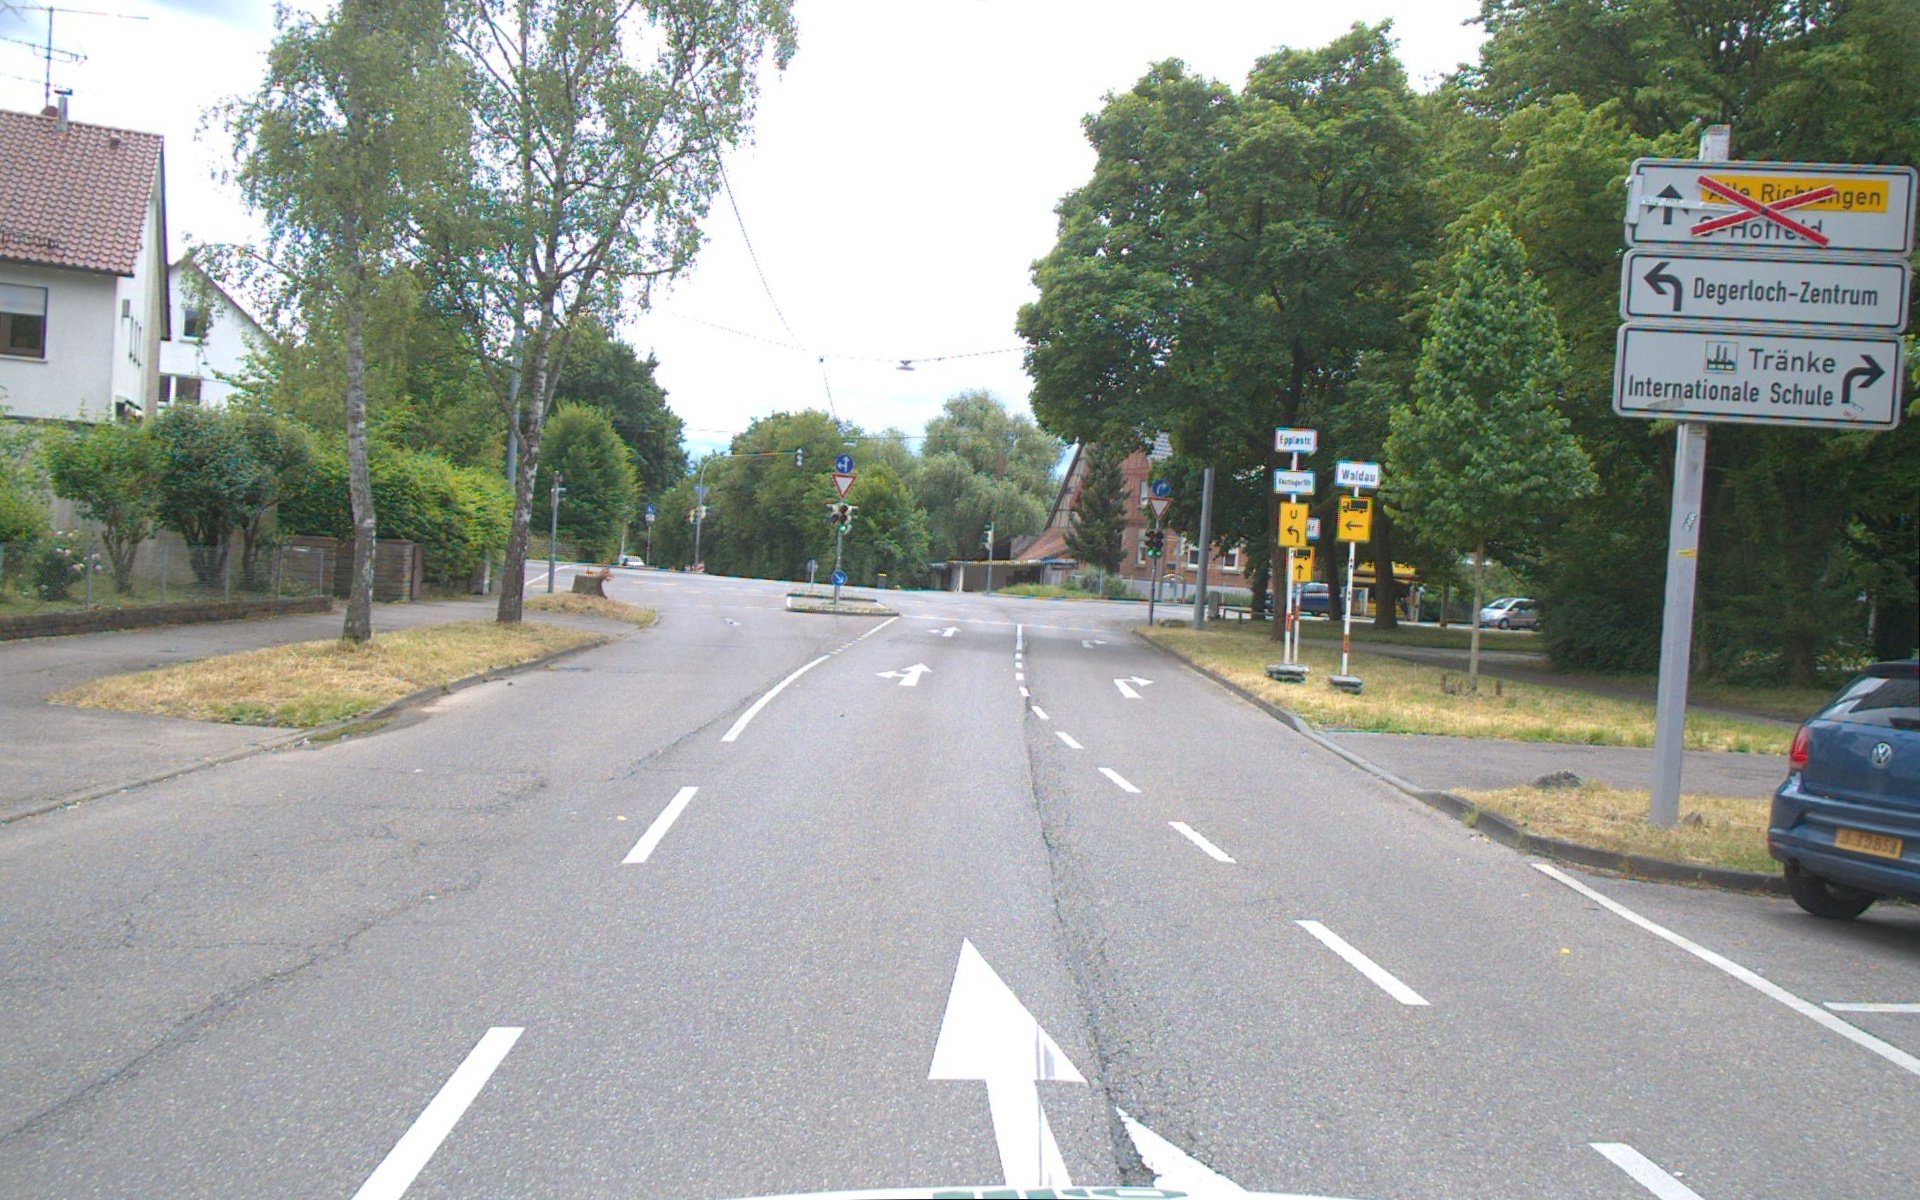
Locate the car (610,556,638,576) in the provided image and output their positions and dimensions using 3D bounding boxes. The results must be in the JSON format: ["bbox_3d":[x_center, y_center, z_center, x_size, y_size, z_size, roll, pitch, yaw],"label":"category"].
[{"bbox_3d":[-26.867,-2.746,132.144,1.766,1.434,3.982,3,1,-17],"label":"car"}]

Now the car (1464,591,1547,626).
[{"bbox_3d":[27.140,0.423,82.305,3.416,1.557,1.986,3,1,-24],"label":"car"}]

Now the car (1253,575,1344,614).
[{"bbox_3d":[16.449,-0.272,80.448,3.786,1.676,1.990,3,1,-18],"label":"car"}]

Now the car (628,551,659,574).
[{"bbox_3d":[-23.093,-2.766,120.517,1.766,1.538,3.982,3,1,-17],"label":"car"}]

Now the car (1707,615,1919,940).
[{"bbox_3d":[6.085,1.009,8.564,3.758,1.449,1.739,6,-1,-17],"label":"car"}]

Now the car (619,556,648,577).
[{"bbox_3d":[-25.010,-2.567,126.692,1.766,1.434,3.982,3,1,-17],"label":"car"}]

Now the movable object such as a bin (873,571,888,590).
[{"bbox_3d":[-4.502,-1.107,93.980,0.625,1.018,0.579,4,-1,-26],"label":"movable object such as a bin"}]
